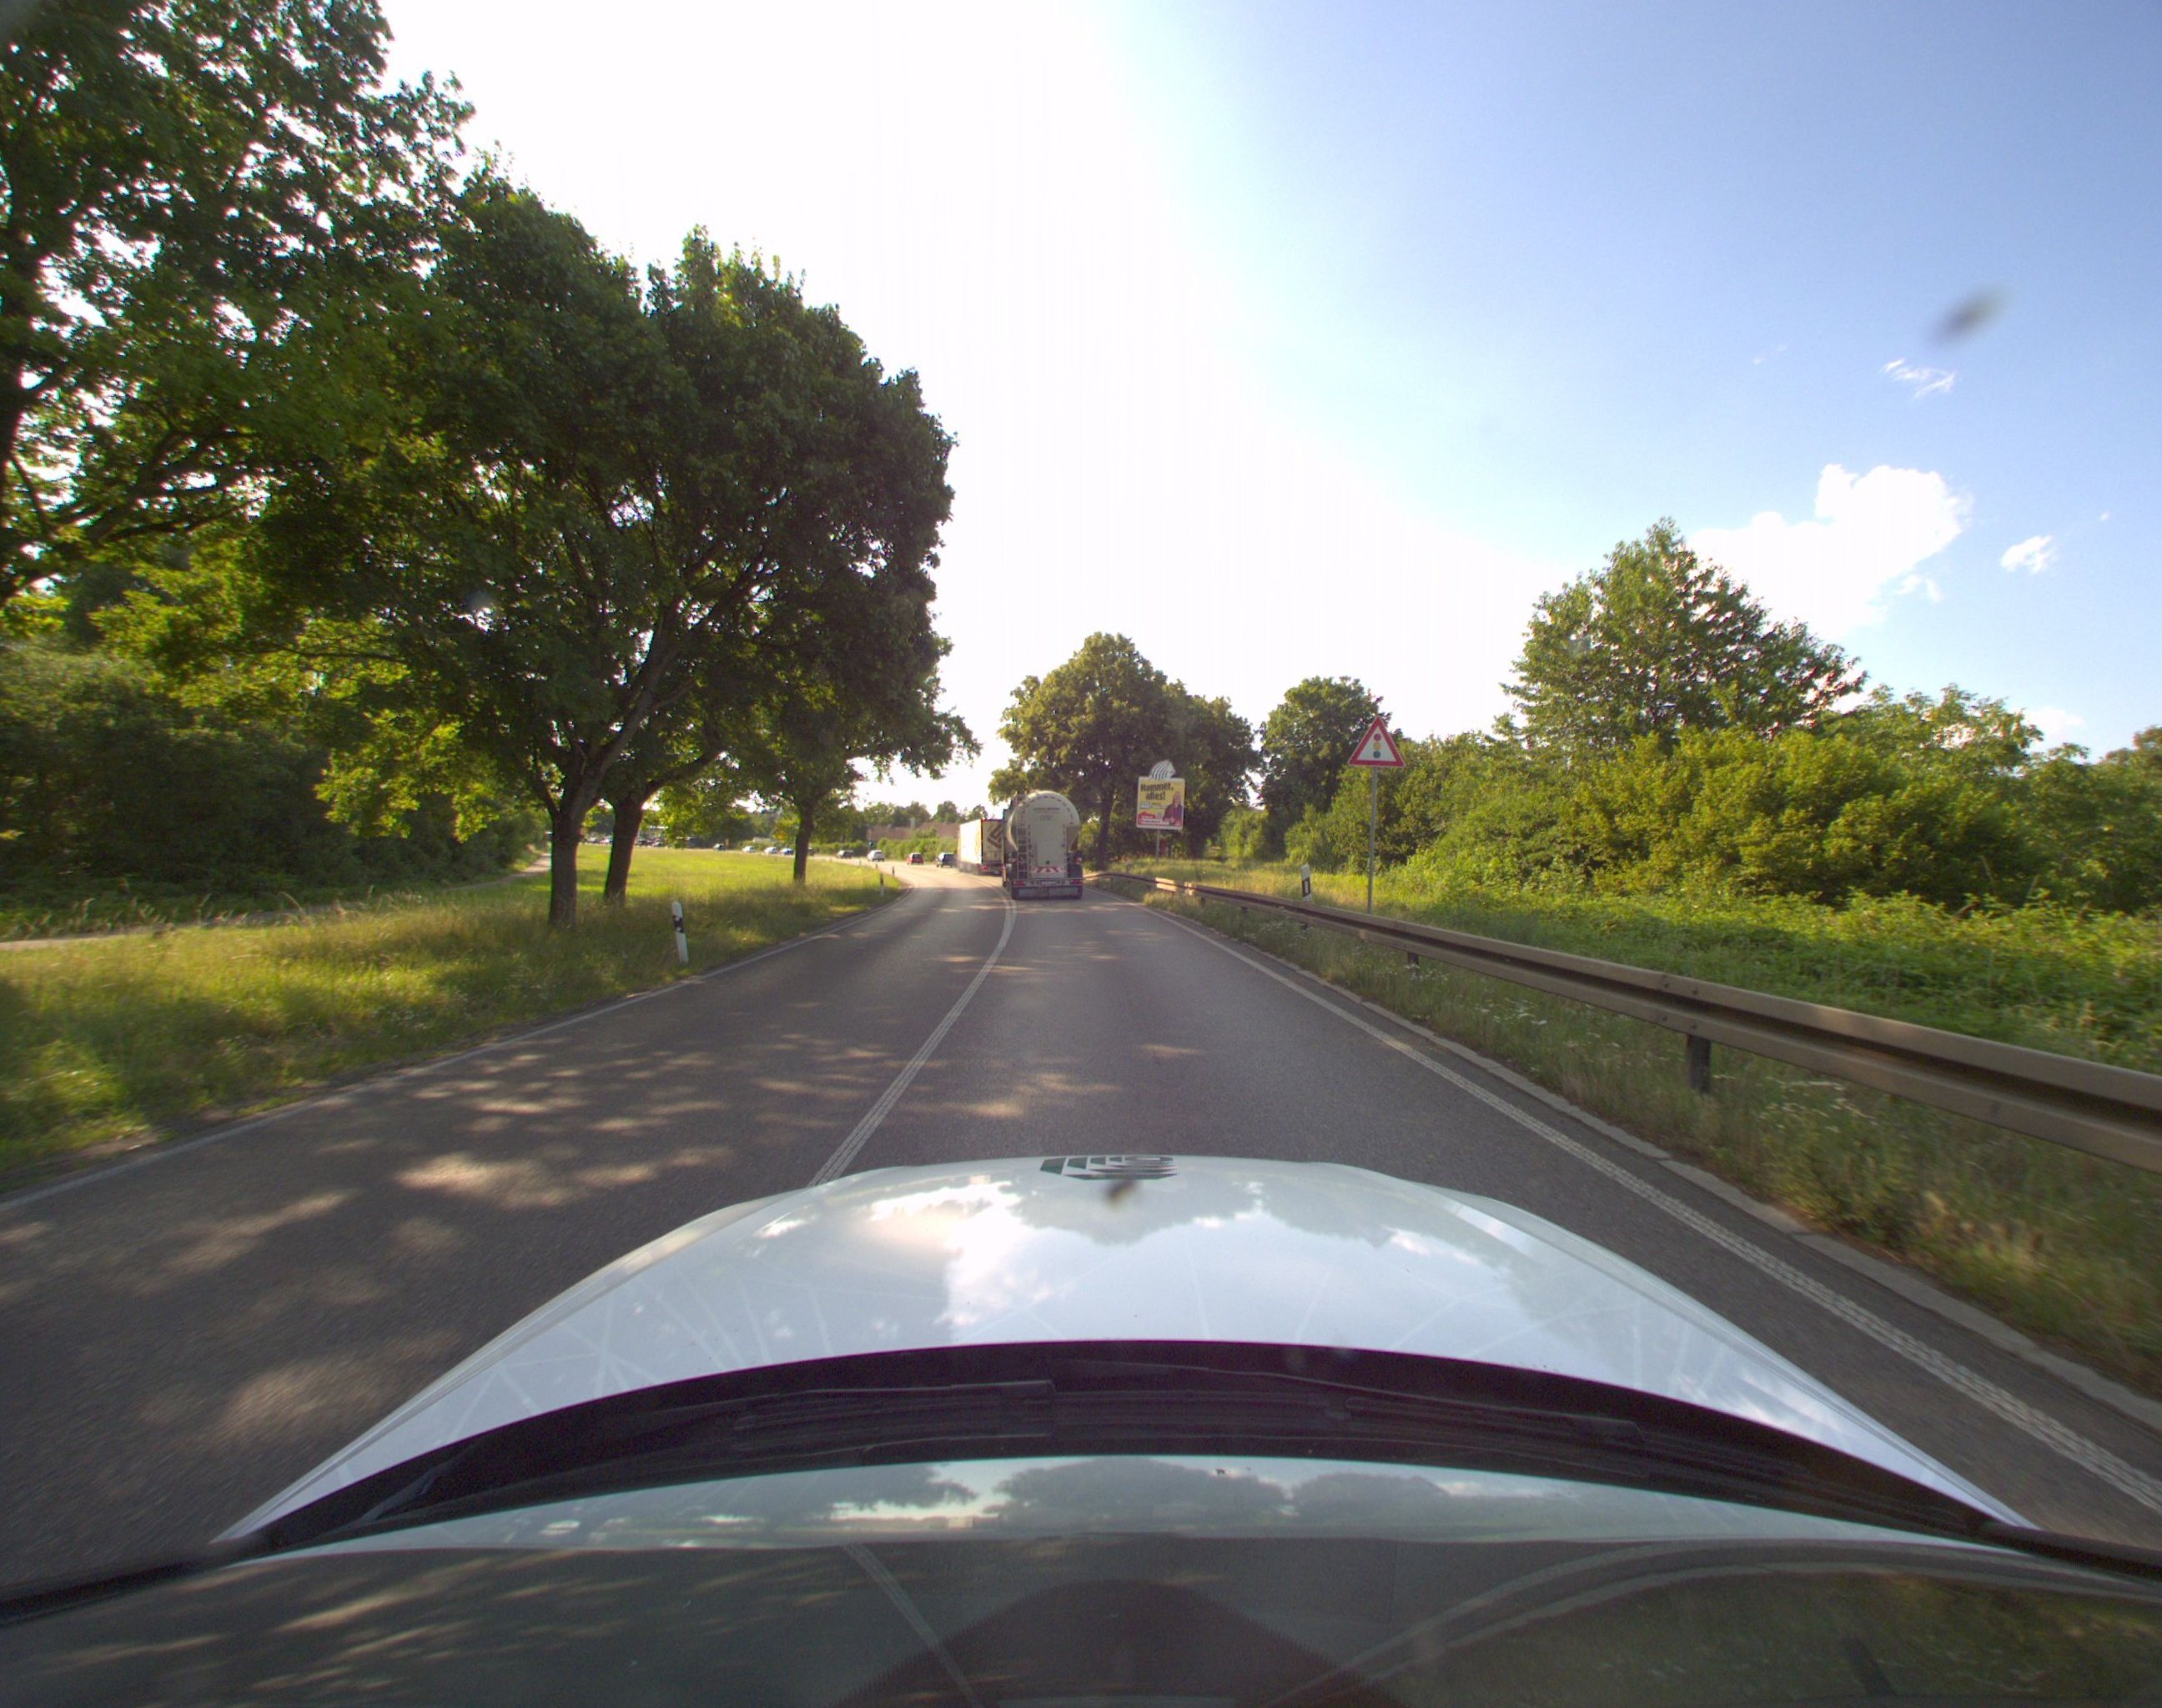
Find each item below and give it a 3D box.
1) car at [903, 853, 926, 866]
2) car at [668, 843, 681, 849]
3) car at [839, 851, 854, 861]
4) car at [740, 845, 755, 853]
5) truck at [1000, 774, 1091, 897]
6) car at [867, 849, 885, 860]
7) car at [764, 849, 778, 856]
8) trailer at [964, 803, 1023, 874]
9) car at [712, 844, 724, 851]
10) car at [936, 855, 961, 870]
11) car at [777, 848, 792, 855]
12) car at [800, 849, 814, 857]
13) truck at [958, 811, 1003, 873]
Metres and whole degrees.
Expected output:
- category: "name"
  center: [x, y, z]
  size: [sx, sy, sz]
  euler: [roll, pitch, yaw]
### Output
- category: "car"
  center: [-21.515, 0.739, 105.106]
  size: [2.307, 1.656, 4.385]
  euler: [0, -1, -20]
- category: "car"
  center: [-108.965, -2.140, 218.255]
  size: [3.950, 1.599, 2.104]
  euler: [1, 1, 44]
- category: "car"
  center: [-41.864, 0.322, 145.375]
  size: [1.529, 1.656, 3.834]
  euler: [0, -1, -31]
- category: "car"
  center: [-77.708, -1.117, 189.866]
  size: [1.993, 1.656, 3.826]
  euler: [0, -1, -41]
- category: "truck"
  center: [-1.783, -0.590, 33.639]
  size: [2.972, 4.175, 11.635]
  euler: [0, -1, -6]
- category: "car"
  center: [-31.655, 0.157, 125.518]
  size: [1.851, 1.656, 3.965]
  euler: [0, -1, -27]
- category: "car"
  center: [-68.825, -0.274, 180.542]
  size: [1.693, 1.559, 3.826]
  euler: [0, -1, -41]
- category: "trailer"
  center: [-6.730, -1.037, 61.125]
  size: [2.969, 4.882, 10.237]
  euler: [0, -1, -14]
- category: "car"
  center: [-90.474, -1.616, 202.907]
  size: [1.742, 1.656, 3.827]
  euler: [0, -1, -40]
- category: "car"
  center: [-14.397, 0.919, 88.577]
  size: [2.000, 1.656, 3.973]
  euler: [0, -1, -20]
- category: "car"
  center: [-62.748, -0.492, 172.538]
  size: [1.693, 1.559, 3.826]
  euler: [0, -1, -41]
- category: "car"
  center: [-54.958, -0.162, 163.293]
  size: [1.531, 1.656, 3.829]
  euler: [0, -1, -37]
- category: "truck"
  center: [-8.494, -0.940, 68.279]
  size: [2.967, 4.886, 6.399]
  euler: [0, -1, -14]
